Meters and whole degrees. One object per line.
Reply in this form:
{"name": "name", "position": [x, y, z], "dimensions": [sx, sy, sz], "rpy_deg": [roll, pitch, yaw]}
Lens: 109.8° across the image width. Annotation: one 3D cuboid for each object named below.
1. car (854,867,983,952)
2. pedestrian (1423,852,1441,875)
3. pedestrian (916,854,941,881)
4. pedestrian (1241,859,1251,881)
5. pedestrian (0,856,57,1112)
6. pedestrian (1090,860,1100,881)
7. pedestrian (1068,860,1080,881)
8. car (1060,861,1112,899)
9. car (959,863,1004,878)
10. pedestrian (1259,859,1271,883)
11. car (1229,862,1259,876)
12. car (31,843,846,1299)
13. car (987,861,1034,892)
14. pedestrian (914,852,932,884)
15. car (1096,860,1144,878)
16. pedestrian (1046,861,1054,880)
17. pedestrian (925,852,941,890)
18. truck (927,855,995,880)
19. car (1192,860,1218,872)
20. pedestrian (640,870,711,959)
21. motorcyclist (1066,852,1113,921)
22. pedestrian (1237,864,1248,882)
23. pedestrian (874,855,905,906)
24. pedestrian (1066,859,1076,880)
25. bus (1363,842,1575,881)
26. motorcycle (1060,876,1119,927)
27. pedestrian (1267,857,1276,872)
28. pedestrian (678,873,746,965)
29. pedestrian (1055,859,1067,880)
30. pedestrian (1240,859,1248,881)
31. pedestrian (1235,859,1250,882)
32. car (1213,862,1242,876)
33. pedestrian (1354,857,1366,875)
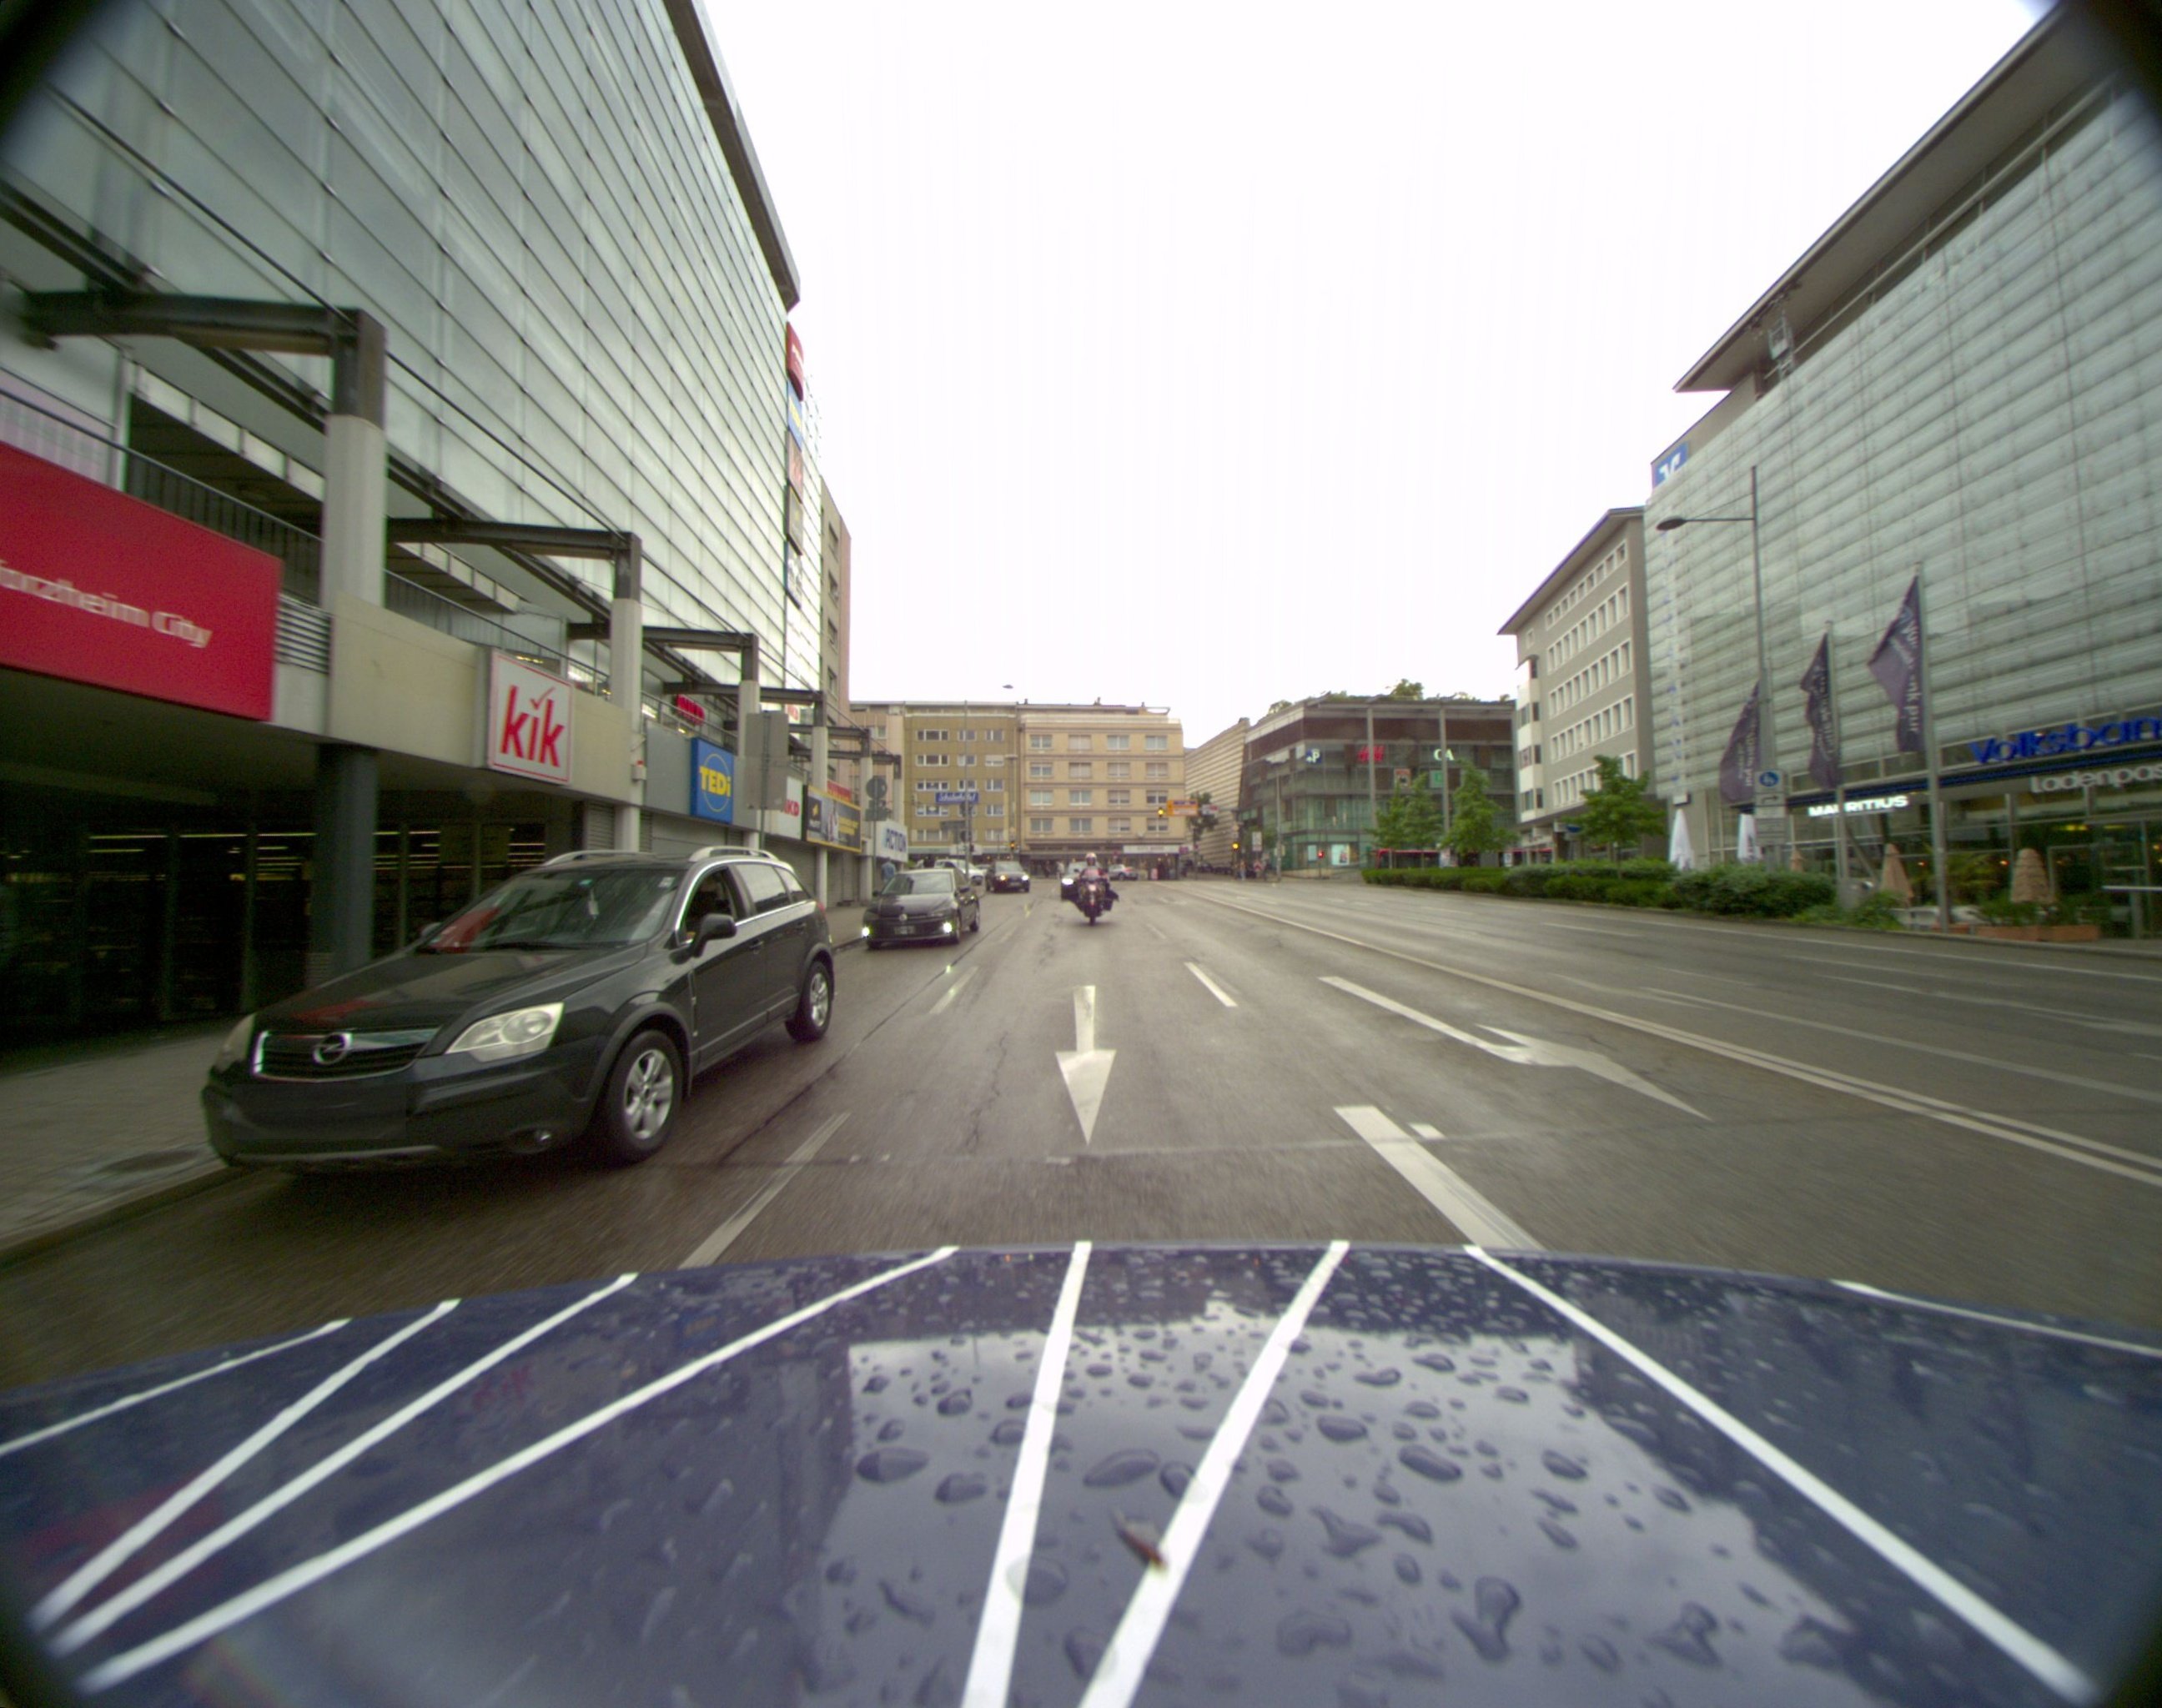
{"name": "car", "position": [-3.137, 1.058, 15.429], "dimensions": [1.742, 1.422, 3.881], "rpy_deg": [-3, -2, 0]}
{"name": "pedestrian", "position": [26.968, 0.742, 58.339], "dimensions": [0.800, 1.765, 1.024], "rpy_deg": [1, 0, -10]}
{"name": "pedestrian", "position": [-9.311, 0.827, 46.310], "dimensions": [1.061, 1.522, 1.024], "rpy_deg": [4, -1, -39]}
{"name": "pedestrian", "position": [12.513, 1.213, 57.690], "dimensions": [0.638, 1.679, 0.784], "rpy_deg": [0, 0, 5]}
{"name": "pedestrian", "position": [-7.601, 0.863, 4.993], "dimensions": [0.817, 1.705, 0.671], "rpy_deg": [0, 0, 2]}
{"name": "pedestrian", "position": [1.121, 1.322, 60.702], "dimensions": [0.693, 1.681, 0.759], "rpy_deg": [2, 0, 1]}
{"name": "pedestrian", "position": [-0.540, 1.276, 58.621], "dimensions": [0.854, 1.559, 0.715], "rpy_deg": [1, 0, 1]}
{"name": "car", "position": [0.162, 1.099, 31.835], "dimensions": [1.999, 1.482, 4.736], "rpy_deg": [1, -2, -1]}
{"name": "car", "position": [-10.153, 1.682, 77.774], "dimensions": [4.398, 1.541, 1.853], "rpy_deg": [0, 0, -5]}
{"name": "pedestrian", "position": [13.719, 1.284, 56.668], "dimensions": [0.617, 1.768, 0.831], "rpy_deg": [1, 0, -10]}
{"name": "car", "position": [19.351, 1.769, 90.241], "dimensions": [1.806, 1.537, 4.292], "rpy_deg": [0, 0, -14]}
{"name": "car", "position": [-3.303, 0.938, 5.256], "dimensions": [1.912, 1.774, 4.303], "rpy_deg": [-2, -1, 0]}
{"name": "car", "position": [-3.732, 1.138, 39.602], "dimensions": [1.873, 1.538, 4.099], "rpy_deg": [0, -1, -14]}
{"name": "pedestrian", "position": [-9.877, 0.882, 47.516], "dimensions": [0.785, 1.855, 0.619], "rpy_deg": [4, -4, 12]}
{"name": "car", "position": [3.503, 1.350, 68.581], "dimensions": [1.851, 1.542, 4.081], "rpy_deg": [2, -1, -44]}
{"name": "pedestrian", "position": [-2.421, 1.294, 59.051], "dimensions": [0.560, 1.479, 0.707], "rpy_deg": [2, 0, 1]}
{"name": "pedestrian", "position": [-7.367, 0.853, 37.874], "dimensions": [0.601, 1.829, 1.012], "rpy_deg": [1, -1, -4]}
{"name": "truck", "position": [-7.635, 0.849, 48.404], "dimensions": [3.989, 1.532, 1.859], "rpy_deg": [-1, -1, 31]}
{"name": "car", "position": [16.720, 1.600, 102.774], "dimensions": [1.899, 1.537, 4.376], "rpy_deg": [-2, 0, -14]}
{"name": "pedestrian", "position": [-6.896, 1.001, 12.948], "dimensions": [0.773, 1.458, 0.704], "rpy_deg": [0, 0, 7]}
{"name": "motorcyclist", "position": [0.189, 0.775, 18.250], "dimensions": [1.093, 1.595, 0.953], "rpy_deg": [0, -1, -2]}
{"name": "pedestrian", "position": [12.512, 1.464, 58.922], "dimensions": [0.588, 1.331, 0.631], "rpy_deg": [1, 0, -10]}
{"name": "pedestrian", "position": [-6.506, 0.883, 25.836], "dimensions": [0.837, 1.712, 0.618], "rpy_deg": [0, 0, 7]}
{"name": "pedestrian", "position": [-0.803, 1.250, 61.302], "dimensions": [0.706, 1.701, 0.786], "rpy_deg": [2, 0, 1]}
{"name": "bus", "position": [35.838, 0.727, 70.398], "dimensions": [18.468, 3.300, 2.930], "rpy_deg": [1, -1, -2]}
{"name": "motorcycle", "position": [0.187, 1.120, 18.256], "dimensions": [1.313, 1.128, 2.185], "rpy_deg": [1, -2, 0]}
{"name": "pedestrian", "position": [22.295, 1.273, 88.941], "dimensions": [0.695, 1.751, 1.048], "rpy_deg": [1, -2, -15]}
{"name": "pedestrian", "position": [-5.990, 1.032, 12.360], "dimensions": [0.747, 1.429, 0.597], "rpy_deg": [2, 0, 7]}
{"name": "pedestrian", "position": [-1.562, 1.225, 59.636], "dimensions": [0.914, 1.662, 0.981], "rpy_deg": [0, 0, 2]}
{"name": "pedestrian", "position": [12.494, 1.203, 58.359], "dimensions": [0.501, 1.658, 0.571], "rpy_deg": [0, -1, 3]}
{"name": "pedestrian", "position": [12.813, 1.309, 60.323], "dimensions": [0.853, 1.777, 1.012], "rpy_deg": [1, 0, -10]}
{"name": "car", "position": [18.473, 1.860, 95.744], "dimensions": [1.899, 1.537, 4.376], "rpy_deg": [-2, 0, -14]}
{"name": "pedestrian", "position": [30.927, 1.313, 84.265], "dimensions": [0.974, 1.968, 0.883], "rpy_deg": [1, -1, -4]}
